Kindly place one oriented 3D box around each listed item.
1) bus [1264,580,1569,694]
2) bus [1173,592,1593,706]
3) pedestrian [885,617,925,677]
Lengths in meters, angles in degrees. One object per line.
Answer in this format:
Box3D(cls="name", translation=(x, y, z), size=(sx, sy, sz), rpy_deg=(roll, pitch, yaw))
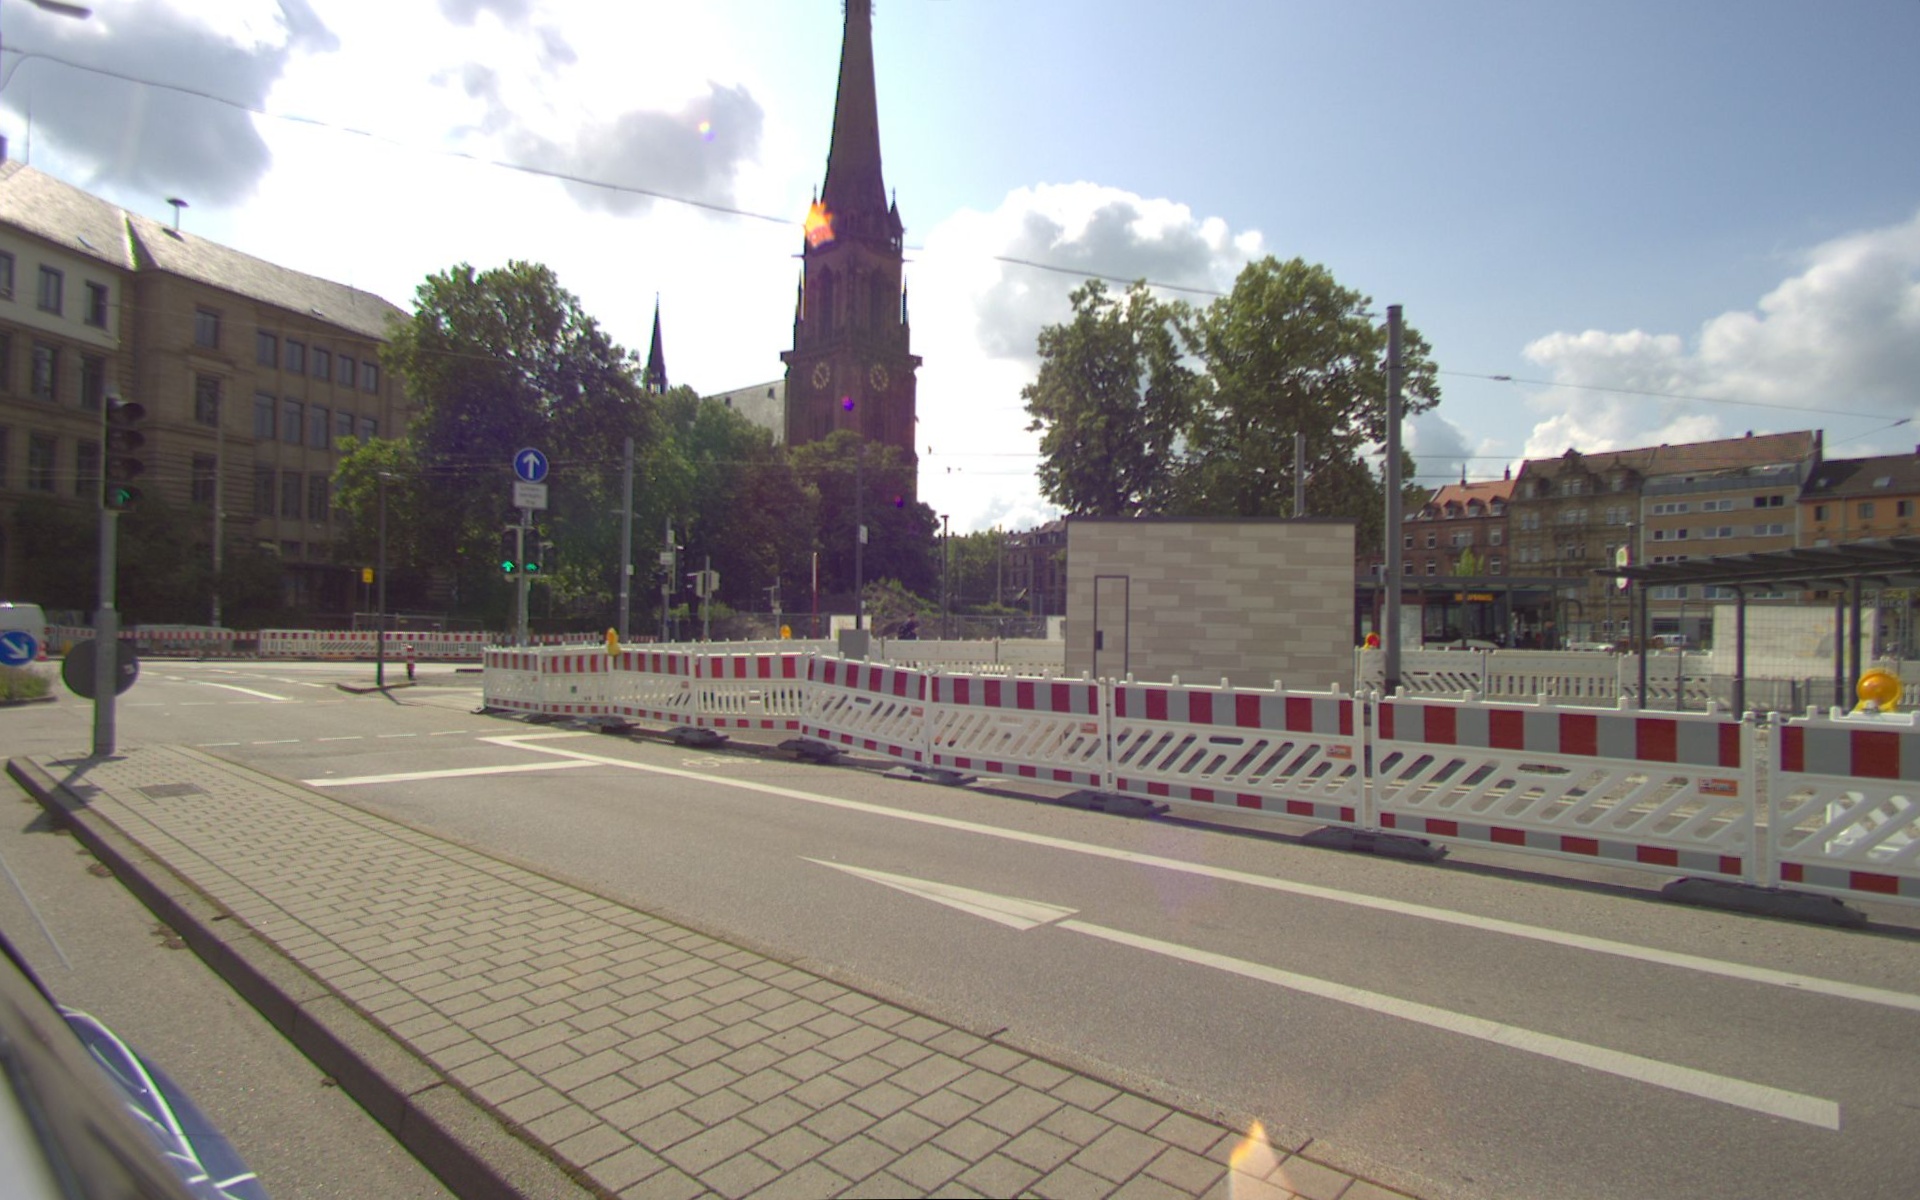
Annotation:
Box3D(cls="bus", translation=(13.023, 1.037, 29.424), size=(7.670, 3.081, 2.369), rpy_deg=(0, -2, 7))
Box3D(cls="bus", translation=(13.025, 1.496, 32.288), size=(11.930, 3.287, 2.987), rpy_deg=(1, -2, 7))
Box3D(cls="pedestrian", translation=(-1.610, 1.378, 29.881), size=(0.834, 1.719, 1.202), rpy_deg=(0, -2, 14))
